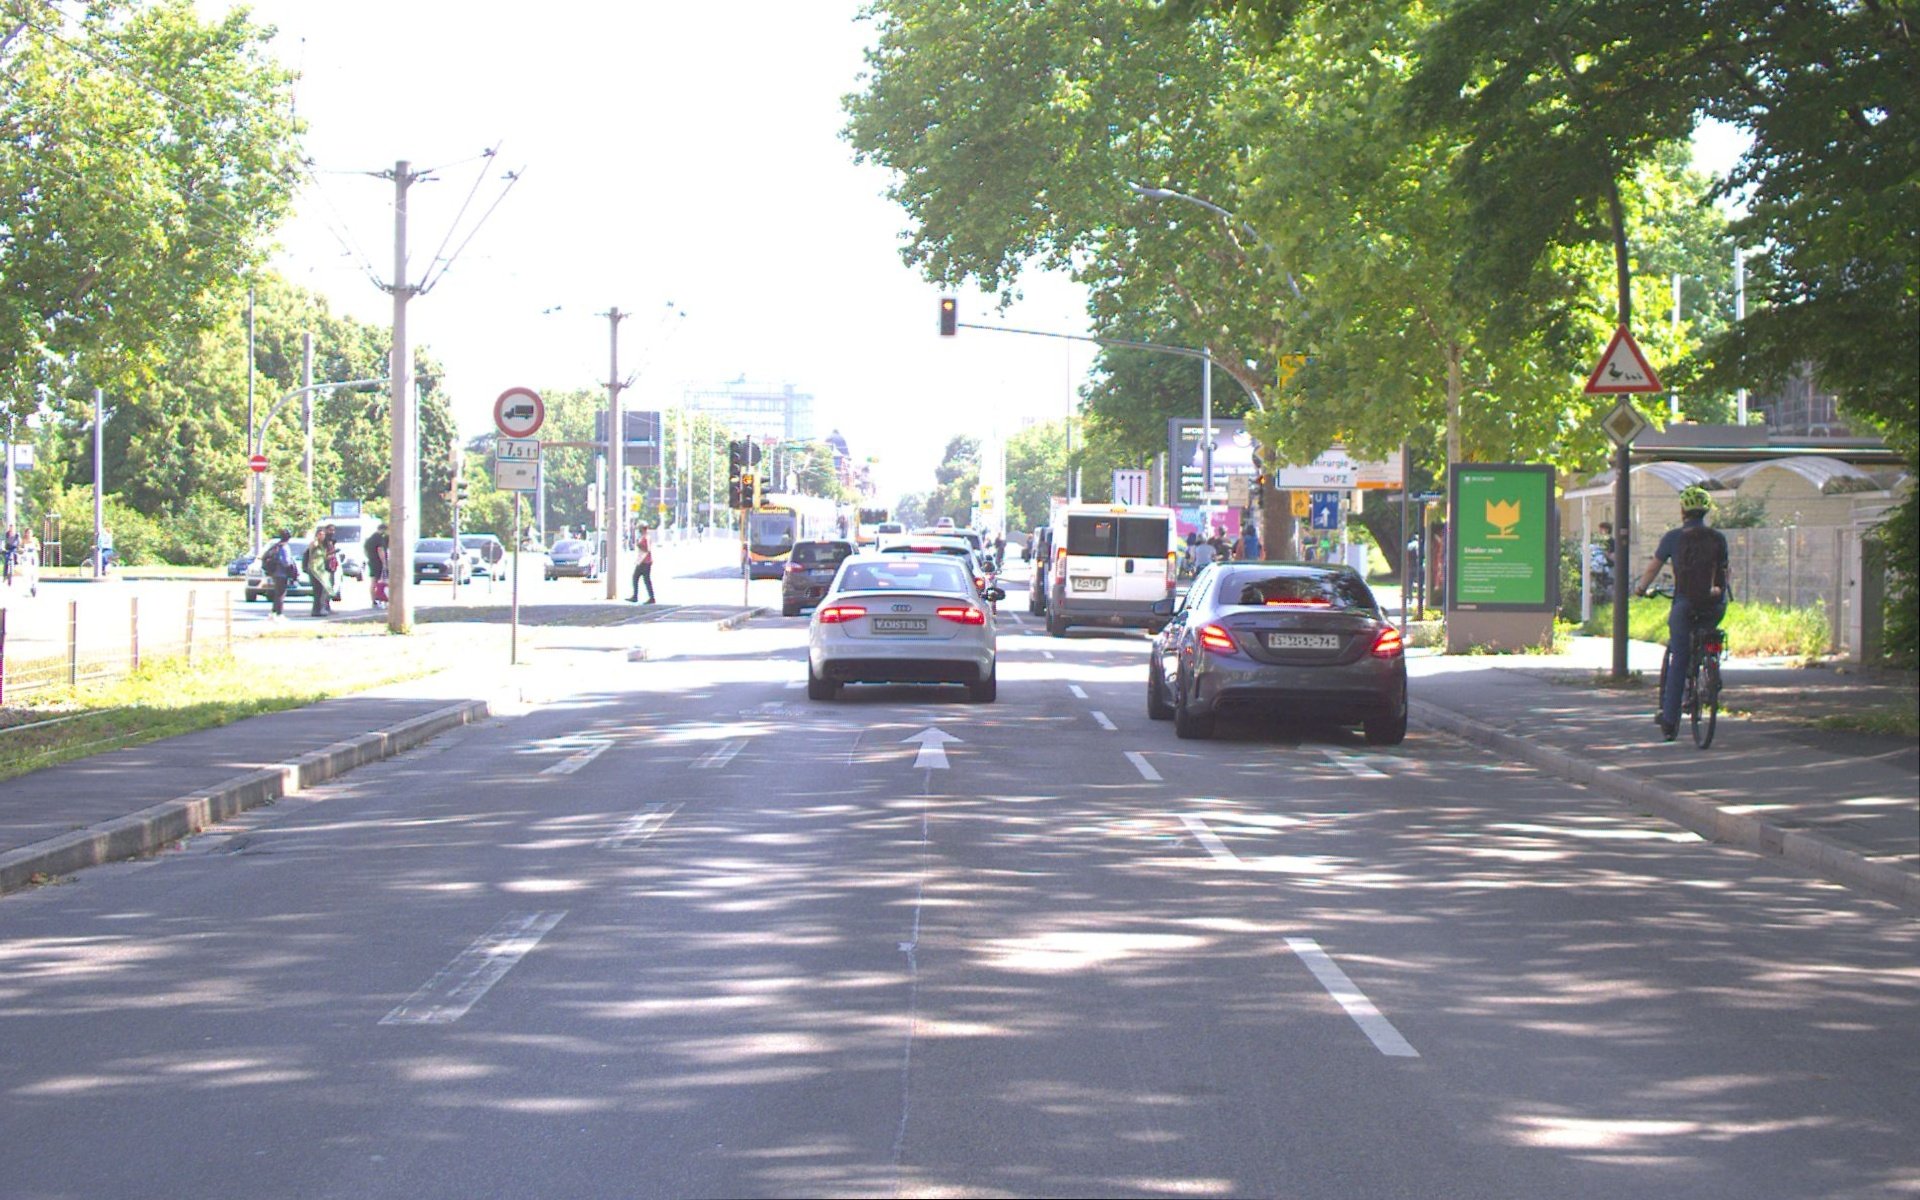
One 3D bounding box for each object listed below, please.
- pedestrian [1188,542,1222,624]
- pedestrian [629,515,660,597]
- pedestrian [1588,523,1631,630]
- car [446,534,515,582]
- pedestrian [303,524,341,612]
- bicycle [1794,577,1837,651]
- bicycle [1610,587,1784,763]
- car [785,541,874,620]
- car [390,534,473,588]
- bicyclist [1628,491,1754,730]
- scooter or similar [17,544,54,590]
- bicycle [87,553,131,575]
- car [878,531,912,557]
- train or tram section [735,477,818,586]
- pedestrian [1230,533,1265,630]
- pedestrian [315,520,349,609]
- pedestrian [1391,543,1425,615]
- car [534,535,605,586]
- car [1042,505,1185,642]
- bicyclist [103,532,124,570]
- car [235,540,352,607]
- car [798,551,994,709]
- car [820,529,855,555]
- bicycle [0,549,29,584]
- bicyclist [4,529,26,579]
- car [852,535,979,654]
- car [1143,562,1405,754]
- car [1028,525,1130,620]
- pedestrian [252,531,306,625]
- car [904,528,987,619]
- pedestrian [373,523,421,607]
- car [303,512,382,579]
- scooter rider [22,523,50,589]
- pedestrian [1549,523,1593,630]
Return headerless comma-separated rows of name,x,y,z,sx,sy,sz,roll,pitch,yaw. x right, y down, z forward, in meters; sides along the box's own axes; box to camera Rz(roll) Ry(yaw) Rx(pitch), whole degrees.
pedestrian,5.124,-0.366,71.936,0.602,1.689,0.953,-1,1,0
pedestrian,-7.510,-1.046,81.857,0.624,1.911,0.690,1,1,1
pedestrian,11.561,-0.418,61.229,0.613,1.890,0.597,1,1,-3
car,-16.583,-1.464,118.977,1.764,1.603,3.860,1,1,1
pedestrian,-12.079,-0.601,65.088,0.593,1.641,0.554,1,1,1
bicycle,13.874,0.225,55.797,0.389,1.176,1.173,1,1,1
bicycle,5.204,0.503,24.410,0.714,1.144,2.178,-2,1,-1
car,-2.811,-0.437,74.753,1.729,1.625,4.000,1,1,0
car,-16.271,-1.215,105.969,1.871,1.603,4.000,1,1,1
bicyclist,5.180,0.065,24.399,0.634,1.642,0.979,-2,1,-1
scooter or similar,-22.879,-0.825,85.113,0.547,1.109,1.248,1,1,1
bicycle,-29.069,-1.214,117.424,0.492,0.728,1.619,2,1,29
car,-4.137,-3.599,219.432,1.871,1.603,4.000,1,1,2
train or tram section,-7.014,-2.615,132.386,2.617,4.001,7.749,1,1,1
pedestrian,5.872,-0.382,70.234,0.635,1.939,0.719,1,1,1
pedestrian,-12.034,-0.681,65.862,0.492,1.673,0.643,1,1,1
pedestrian,11.189,-0.532,85.917,0.778,1.782,0.763,1,1,10
car,-13.775,-1.400,121.519,1.993,1.728,4.000,1,1,1
car,2.585,-0.472,58.965,2.230,2.204,4.162,1,1,0
bicyclist,-28.952,-1.667,117.613,0.474,1.287,0.496,2,1,29
car,-15.471,-0.636,80.019,1.796,1.483,4.385,1,1,1
car,-0.589,0.250,33.750,1.784,1.416,3.885,1,1,0
car,-7.802,-3.675,219.516,1.871,1.603,4.000,1,1,2
bicycle,-26.952,-0.959,98.008,0.484,0.958,1.655,1,1,-26
bicyclist,-26.945,-1.308,97.998,0.479,1.411,0.592,1,1,-26
car,-0.608,-0.106,49.473,1.729,1.599,3.885,1,1,0
car,2.513,0.420,28.366,1.782,1.415,4.000,1,1,0
car,2.601,-0.619,75.802,2.072,1.992,4.058,1,1,0
pedestrian,-11.804,-0.380,59.592,0.757,1.617,0.595,1,1,-25
car,-0.303,-0.594,74.875,1.729,1.895,4.000,1,1,0
pedestrian,-11.768,-0.740,71.880,0.775,1.728,0.754,1,1,9
car,-22.611,-2.014,125.999,2.114,2.374,4.000,1,1,1
scooter rider,-22.873,-1.082,85.118,0.506,1.626,0.566,1,1,1
pedestrian,10.861,-0.418,61.100,0.613,1.890,0.694,1,1,-3
